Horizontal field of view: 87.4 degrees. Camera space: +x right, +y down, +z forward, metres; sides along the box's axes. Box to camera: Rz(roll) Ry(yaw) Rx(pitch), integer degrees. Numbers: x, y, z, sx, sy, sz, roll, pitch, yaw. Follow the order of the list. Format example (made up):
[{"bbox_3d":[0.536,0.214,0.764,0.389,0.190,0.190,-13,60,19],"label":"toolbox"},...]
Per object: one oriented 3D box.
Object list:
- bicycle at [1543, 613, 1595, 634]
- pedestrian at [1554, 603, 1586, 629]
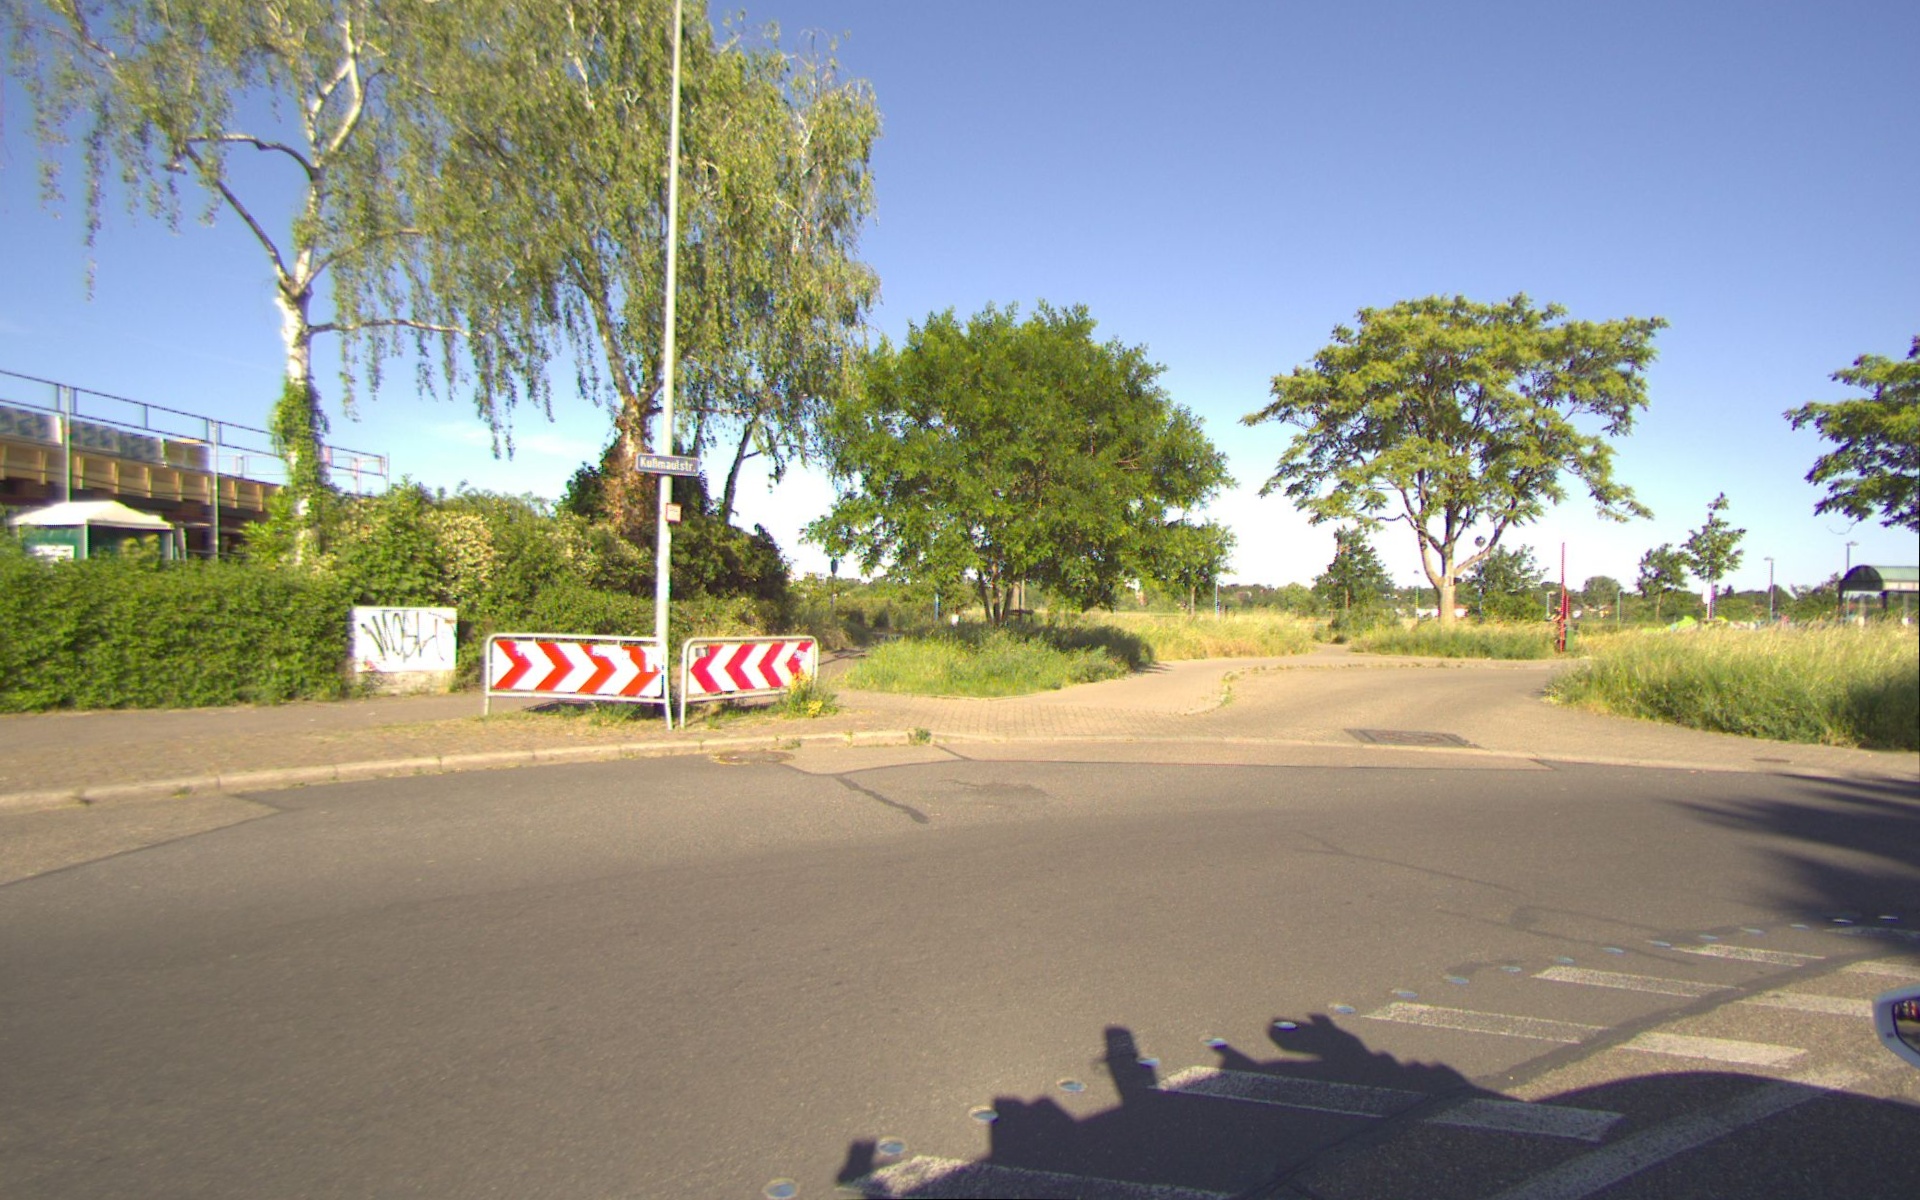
[{"bbox_3d":[23.056,0.888,38.030,1.545,0.713,0.654,2,1,2],"label":"bicycle"},{"bbox_3d":[23.087,0.612,38.031,0.784,0.953,0.703,1,1,3],"label":"pedestrian"}]
